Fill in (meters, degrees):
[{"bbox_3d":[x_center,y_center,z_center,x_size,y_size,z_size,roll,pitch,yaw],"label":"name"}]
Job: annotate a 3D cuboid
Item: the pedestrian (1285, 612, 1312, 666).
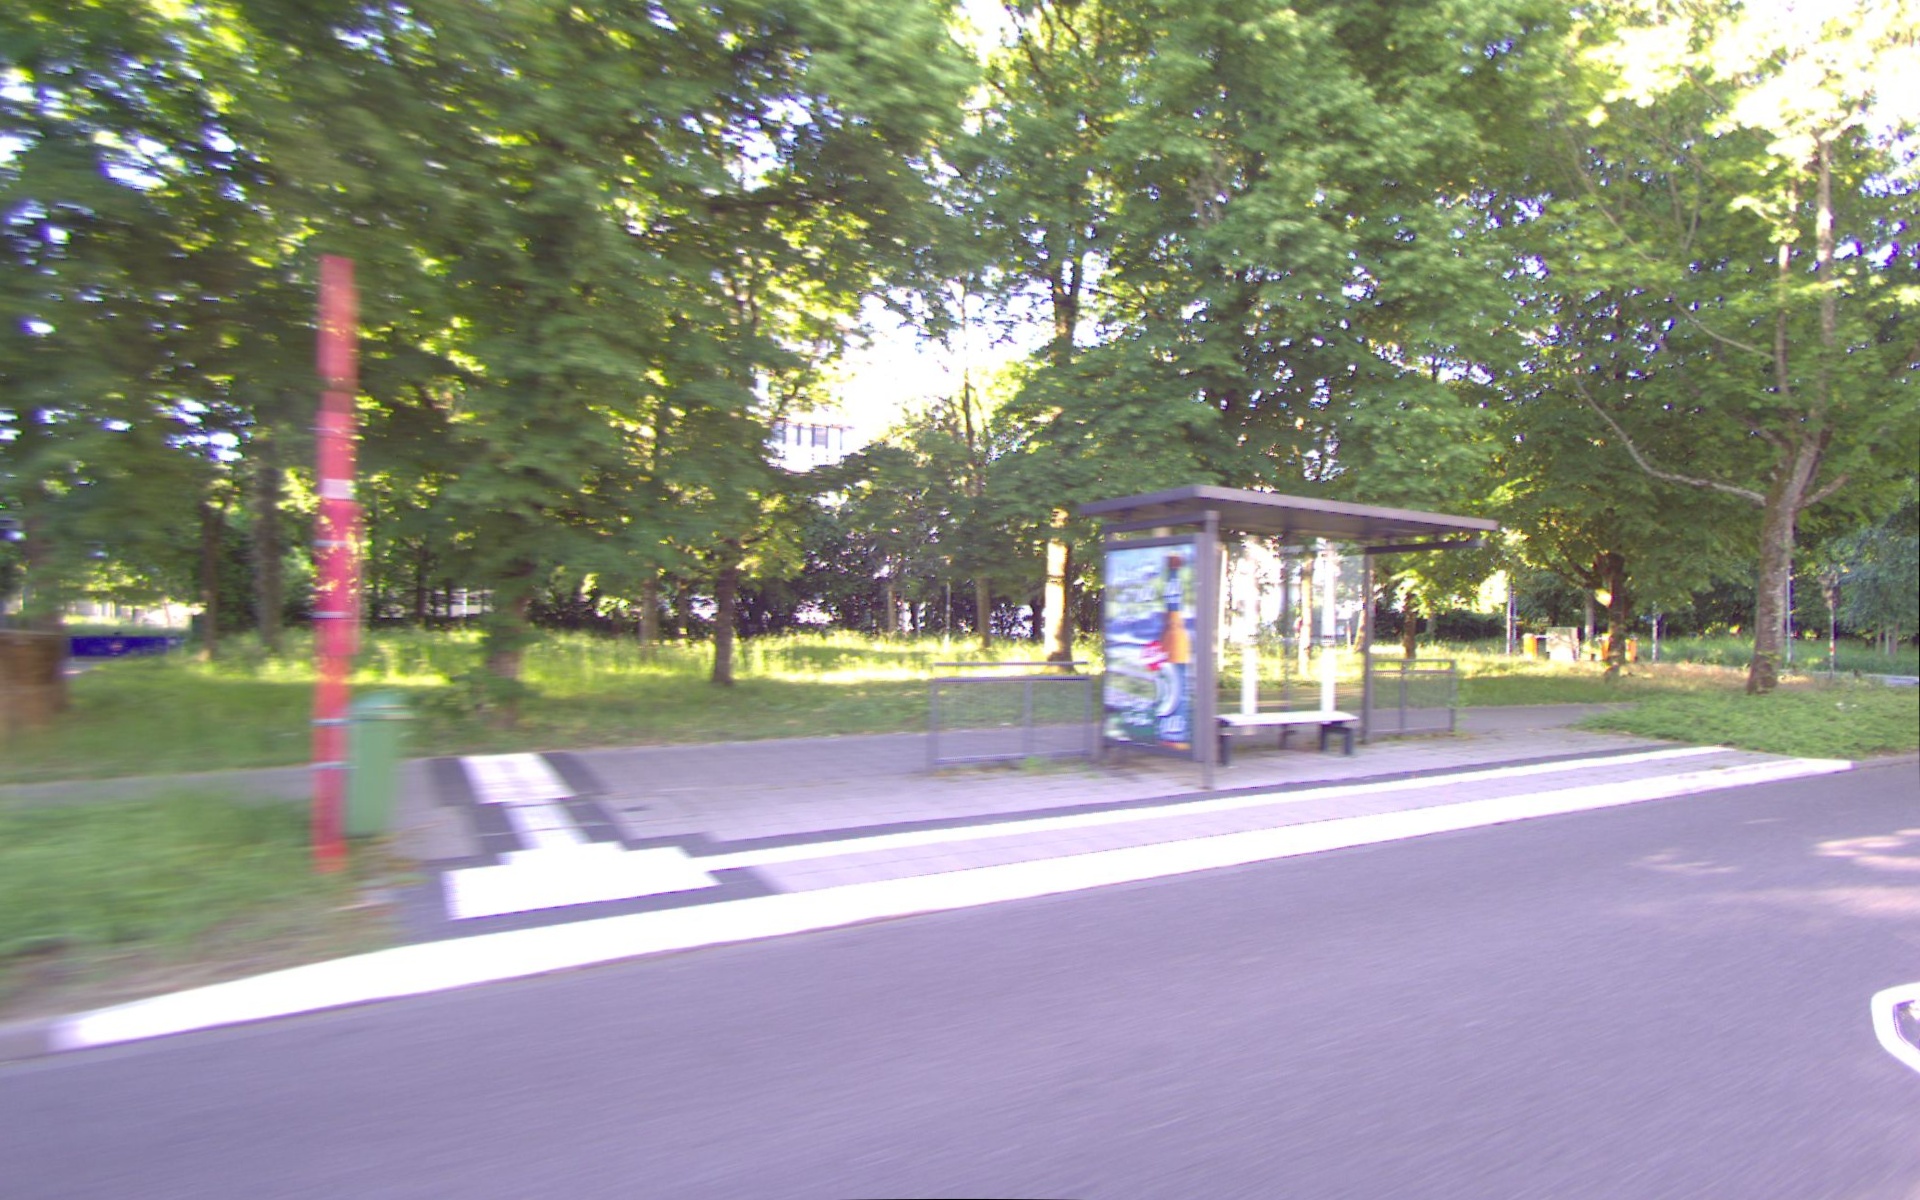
[{"bbox_3d":[12.895,1.470,38.259,0.583,2.040,0.752,2,-1,-32],"label":"pedestrian"}]
